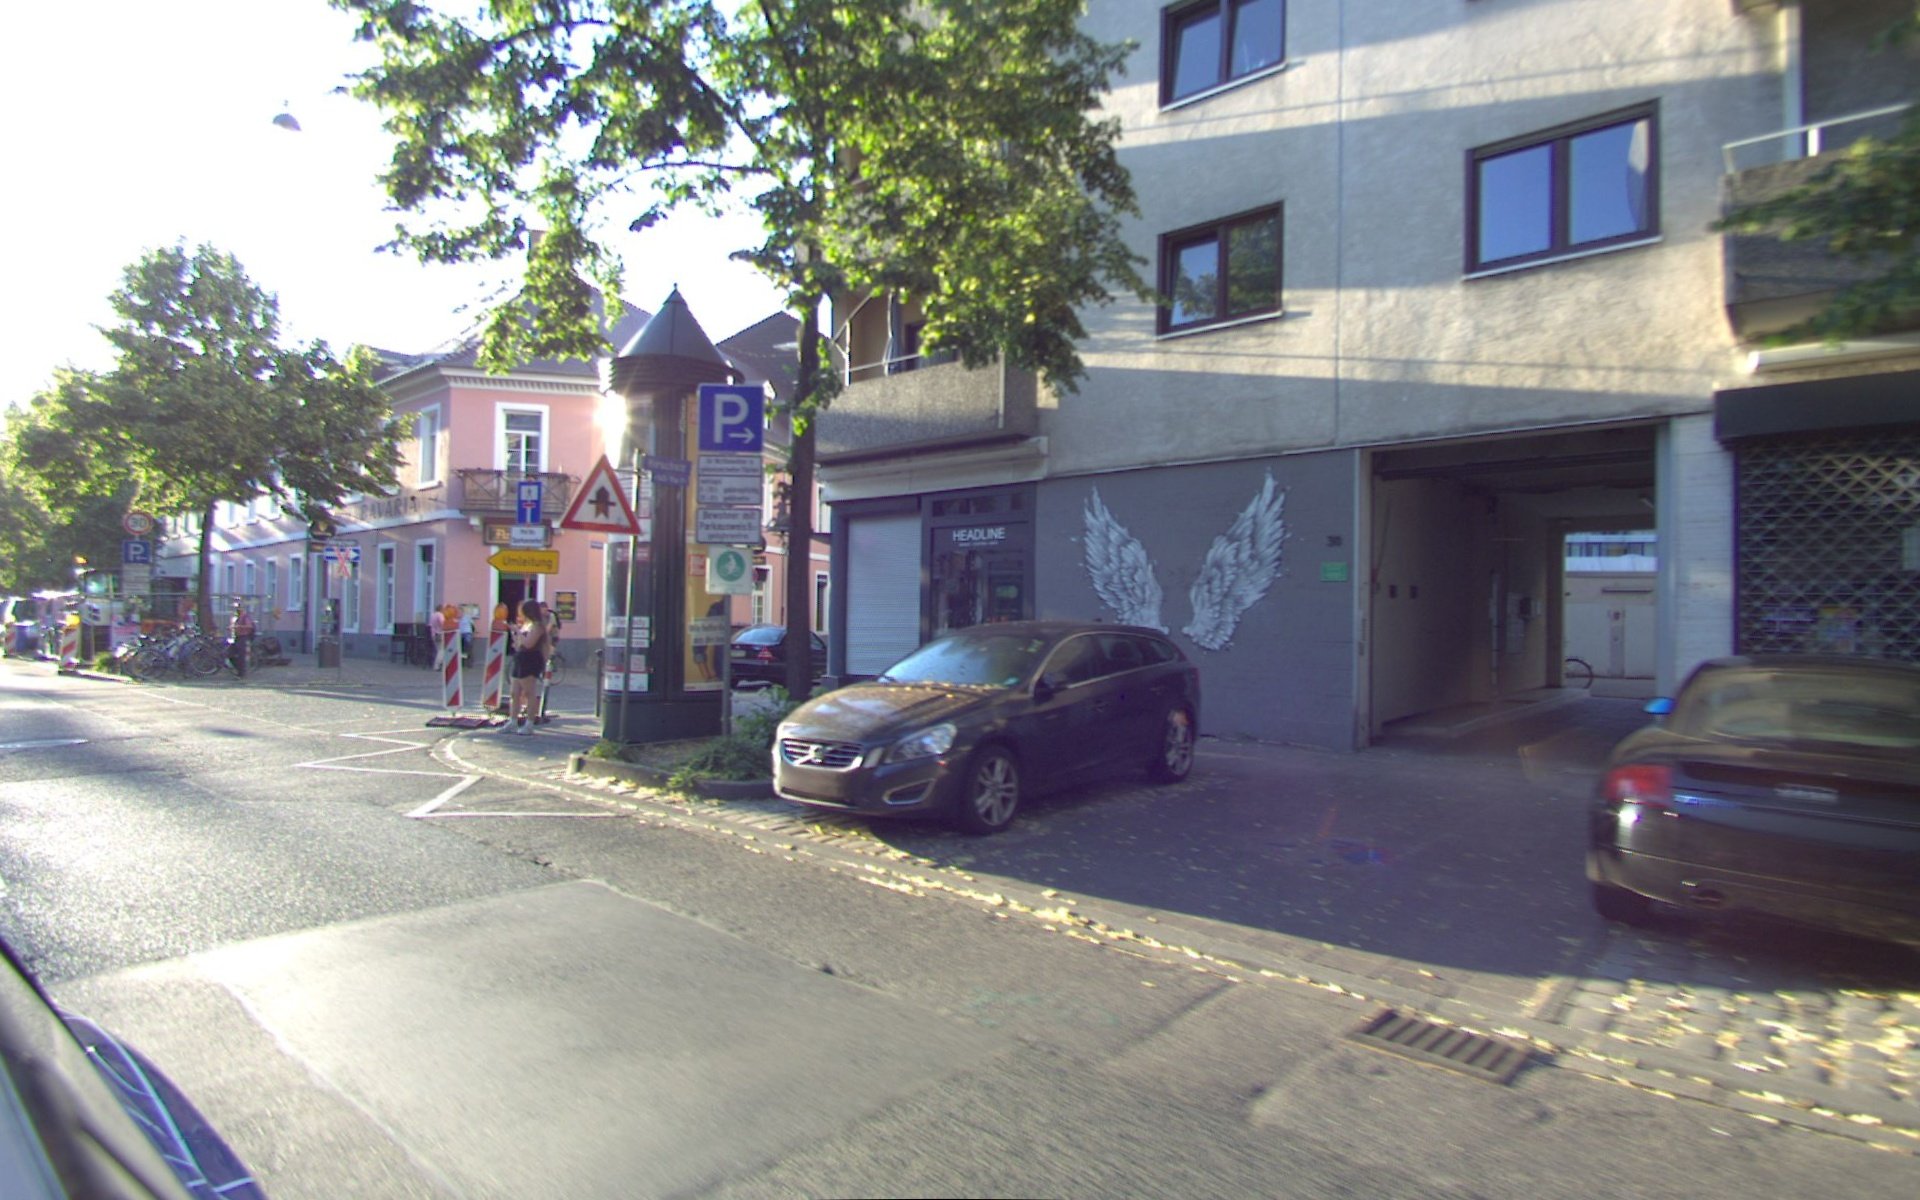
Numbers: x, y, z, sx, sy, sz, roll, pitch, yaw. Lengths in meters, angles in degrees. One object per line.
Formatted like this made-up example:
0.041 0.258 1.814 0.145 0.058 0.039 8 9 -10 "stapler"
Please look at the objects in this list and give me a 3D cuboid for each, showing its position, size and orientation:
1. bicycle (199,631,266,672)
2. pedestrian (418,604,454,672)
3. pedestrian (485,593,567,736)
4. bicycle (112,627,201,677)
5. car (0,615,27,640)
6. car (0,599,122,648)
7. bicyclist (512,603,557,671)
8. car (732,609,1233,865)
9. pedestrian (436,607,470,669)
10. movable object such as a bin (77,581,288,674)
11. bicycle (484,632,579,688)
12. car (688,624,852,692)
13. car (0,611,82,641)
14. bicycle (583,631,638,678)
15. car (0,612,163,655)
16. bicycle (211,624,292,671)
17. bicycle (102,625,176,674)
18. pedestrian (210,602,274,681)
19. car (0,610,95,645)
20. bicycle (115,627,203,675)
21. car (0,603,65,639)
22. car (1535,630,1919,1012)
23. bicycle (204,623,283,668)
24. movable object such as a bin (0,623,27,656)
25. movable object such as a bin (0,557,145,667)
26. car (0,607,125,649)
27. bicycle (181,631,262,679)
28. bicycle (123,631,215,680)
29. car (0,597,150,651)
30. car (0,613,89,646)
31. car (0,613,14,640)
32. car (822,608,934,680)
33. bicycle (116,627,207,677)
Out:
-18.217 1.274 25.360 0.445 0.987 1.309 0 0 44 "bicycle"
-13.894 1.004 26.816 0.718 1.750 0.501 2 0 32 "pedestrian"
-5.384 0.777 12.544 0.701 1.699 0.835 2 -2 -40 "pedestrian"
-19.492 1.246 24.574 1.662 1.086 0.445 -1 1 -41 "bicycle"
-58.028 1.634 59.842 1.962 1.495 3.995 -1 -2 41 "car"
-38.925 1.013 43.328 2.068 1.991 4.436 -1 -2 42 "car"
-9.487 0.828 22.588 0.582 1.469 0.737 -2 -3 25 "bicyclist"
0.476 0.870 8.486 1.810 1.553 4.500 0 -1 40 "car"
-13.891 1.028 27.724 0.718 1.662 0.501 2 0 32 "pedestrian"
-23.072 0.821 30.432 2.278 2.514 5.762 1 -2 -6 "movable object such as a bin"
-9.493 1.310 22.525 0.582 1.202 2.107 -2 -2 25 "bicycle"
-4.281 1.276 23.504 1.984 1.390 4.183 0 -2 18 "car"
-48.248 1.337 52.107 1.734 1.496 4.429 -1 -2 43 "car"
-9.534 1.474 27.655 0.579 1.202 1.938 2 -1 7 "bicycle"
-32.648 1.213 37.612 1.893 1.481 4.543 -1 -2 44 "car"
-18.586 1.228 26.574 0.445 1.157 1.663 0 0 44 "bicycle"
-20.660 1.226 25.490 0.439 1.125 1.545 0 1 8 "bicycle"
-16.564 0.950 23.354 1.035 1.779 0.811 -1 -2 29 "pedestrian"
-42.211 1.235 45.862 1.838 1.512 4.287 -1 -1 36 "car"
-19.832 1.242 25.084 0.444 1.086 1.665 1 1 40 "bicycle"
-51.912 1.146 54.884 1.973 1.922 4.819 -1 -2 41 "car"
4.791 0.910 5.484 2.044 1.402 3.748 1 0 44 "car"
-19.099 1.194 26.991 0.445 1.157 1.663 0 0 44 "bicycle"
-32.554 1.346 34.713 0.883 1.113 0.682 -1 -3 43 "movable object such as a bin"
-26.729 0.386 30.383 5.301 2.991 2.597 -1 -2 41 "movable object such as a bin"
-37.008 1.118 41.468 1.860 1.649 4.086 -1 -1 42 "car"
-17.504 1.284 24.010 0.470 1.067 1.474 0 0 35 "bicycle"
-18.508 1.276 23.697 1.662 1.029 0.445 -1 1 -41 "bicycle"
-34.928 0.932 39.858 1.963 1.991 4.439 -1 -1 39 "car"
-44.197 1.380 48.245 1.905 1.512 3.879 -1 -2 43 "car"
-66.622 1.747 68.146 1.807 1.820 4.093 -1 -3 43 "car"
-2.355 1.281 30.520 2.050 1.960 4.509 1 -1 13 "car"
-19.059 1.233 24.175 1.662 1.086 0.445 -1 1 -41 "bicycle"
